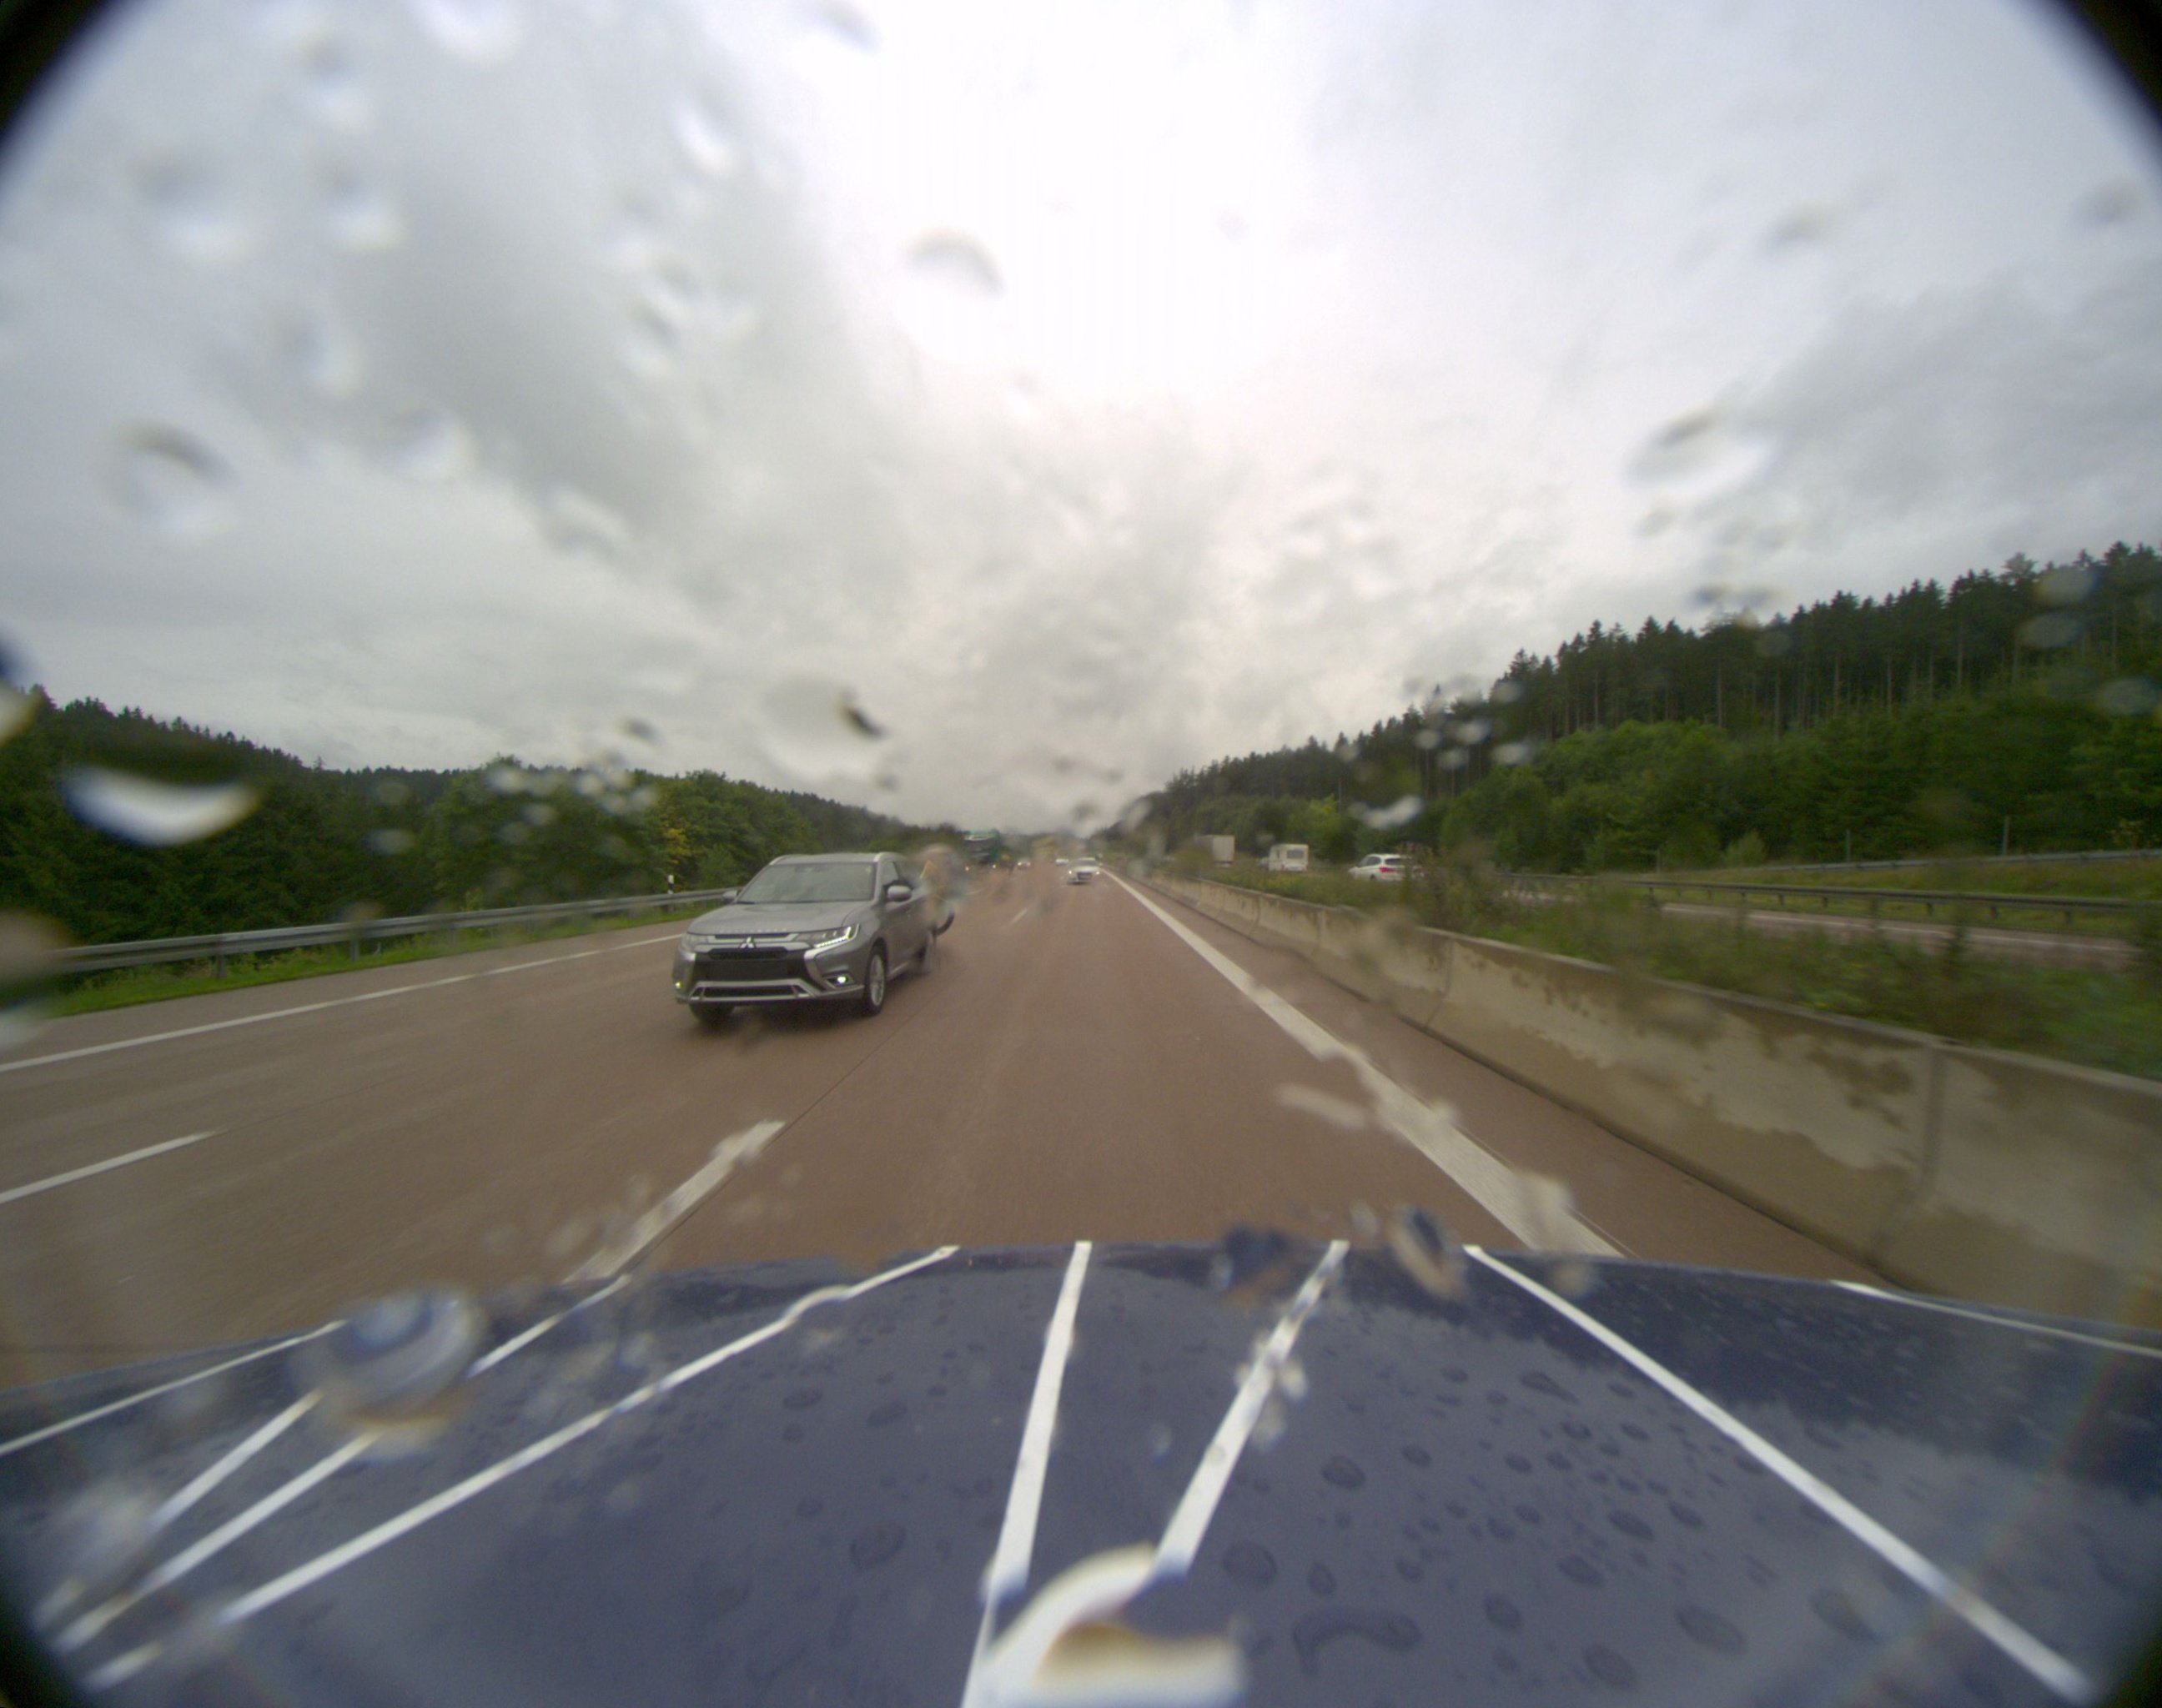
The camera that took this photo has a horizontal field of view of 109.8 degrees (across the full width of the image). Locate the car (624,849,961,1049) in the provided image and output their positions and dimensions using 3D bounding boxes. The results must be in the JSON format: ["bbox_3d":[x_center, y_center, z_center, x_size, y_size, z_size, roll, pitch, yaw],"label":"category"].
[{"bbox_3d":[-2.984,0.818,9.585,1.999,1.584,5.818,-2,1,-1],"label":"car"}]

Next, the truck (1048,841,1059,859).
[{"bbox_3d":[-6.913,-1.005,190.807,2.610,4.190,6.247,-2,2,-2],"label":"truck"}]

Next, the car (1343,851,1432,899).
[{"bbox_3d":[12.492,0.779,31.340,1.869,1.656,4.708,-2,1,2],"label":"car"}]

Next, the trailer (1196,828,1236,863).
[{"bbox_3d":[16.706,-1.115,95.211,2.746,4.116,12.752,0,1,0],"label":"trailer"}]

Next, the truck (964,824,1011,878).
[{"bbox_3d":[-7.315,-0.315,60.597,2.905,3.942,6.985,-2,2,-2],"label":"truck"}]

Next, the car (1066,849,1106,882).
[{"bbox_3d":[0.214,0.588,42.659,1.999,1.623,4.929,-2,1,-2],"label":"car"}]

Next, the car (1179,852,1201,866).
[{"bbox_3d":[12.735,0.571,89.122,1.696,1.548,5.676,1,0,0],"label":"car"}]

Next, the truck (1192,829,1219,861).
[{"bbox_3d":[16.731,-1.294,102.493,2.775,4.152,5.999,0,2,0],"label":"truck"}]

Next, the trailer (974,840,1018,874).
[{"bbox_3d":[-7.526,0.210,68.541,2.889,2.660,11.395,-2,1,-1],"label":"trailer"}]

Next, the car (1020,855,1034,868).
[{"bbox_3d":[-7.245,1.017,102.204,1.702,1.602,4.974,-1,1,-2],"label":"car"}]

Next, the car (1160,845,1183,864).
[{"bbox_3d":[8.584,0.050,72.211,1.674,1.656,4.476,-2,1,1],"label":"car"}]

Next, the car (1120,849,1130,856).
[{"bbox_3d":[12.333,-0.365,212.595,2.286,1.851,5.726,-2,1,0],"label":"car"}]

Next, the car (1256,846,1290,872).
[{"bbox_3d":[16.556,0.436,65.832,1.762,2.140,4.428,1,0,-1],"label":"car"}]

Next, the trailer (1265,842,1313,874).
[{"bbox_3d":[16.577,0.336,60.827,2.282,2.397,5.437,1,0,0],"label":"trailer"}]

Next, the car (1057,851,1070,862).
[{"bbox_3d":[-2.968,0.457,126.593,1.999,1.623,4.929,-2,1,-2],"label":"car"}]
